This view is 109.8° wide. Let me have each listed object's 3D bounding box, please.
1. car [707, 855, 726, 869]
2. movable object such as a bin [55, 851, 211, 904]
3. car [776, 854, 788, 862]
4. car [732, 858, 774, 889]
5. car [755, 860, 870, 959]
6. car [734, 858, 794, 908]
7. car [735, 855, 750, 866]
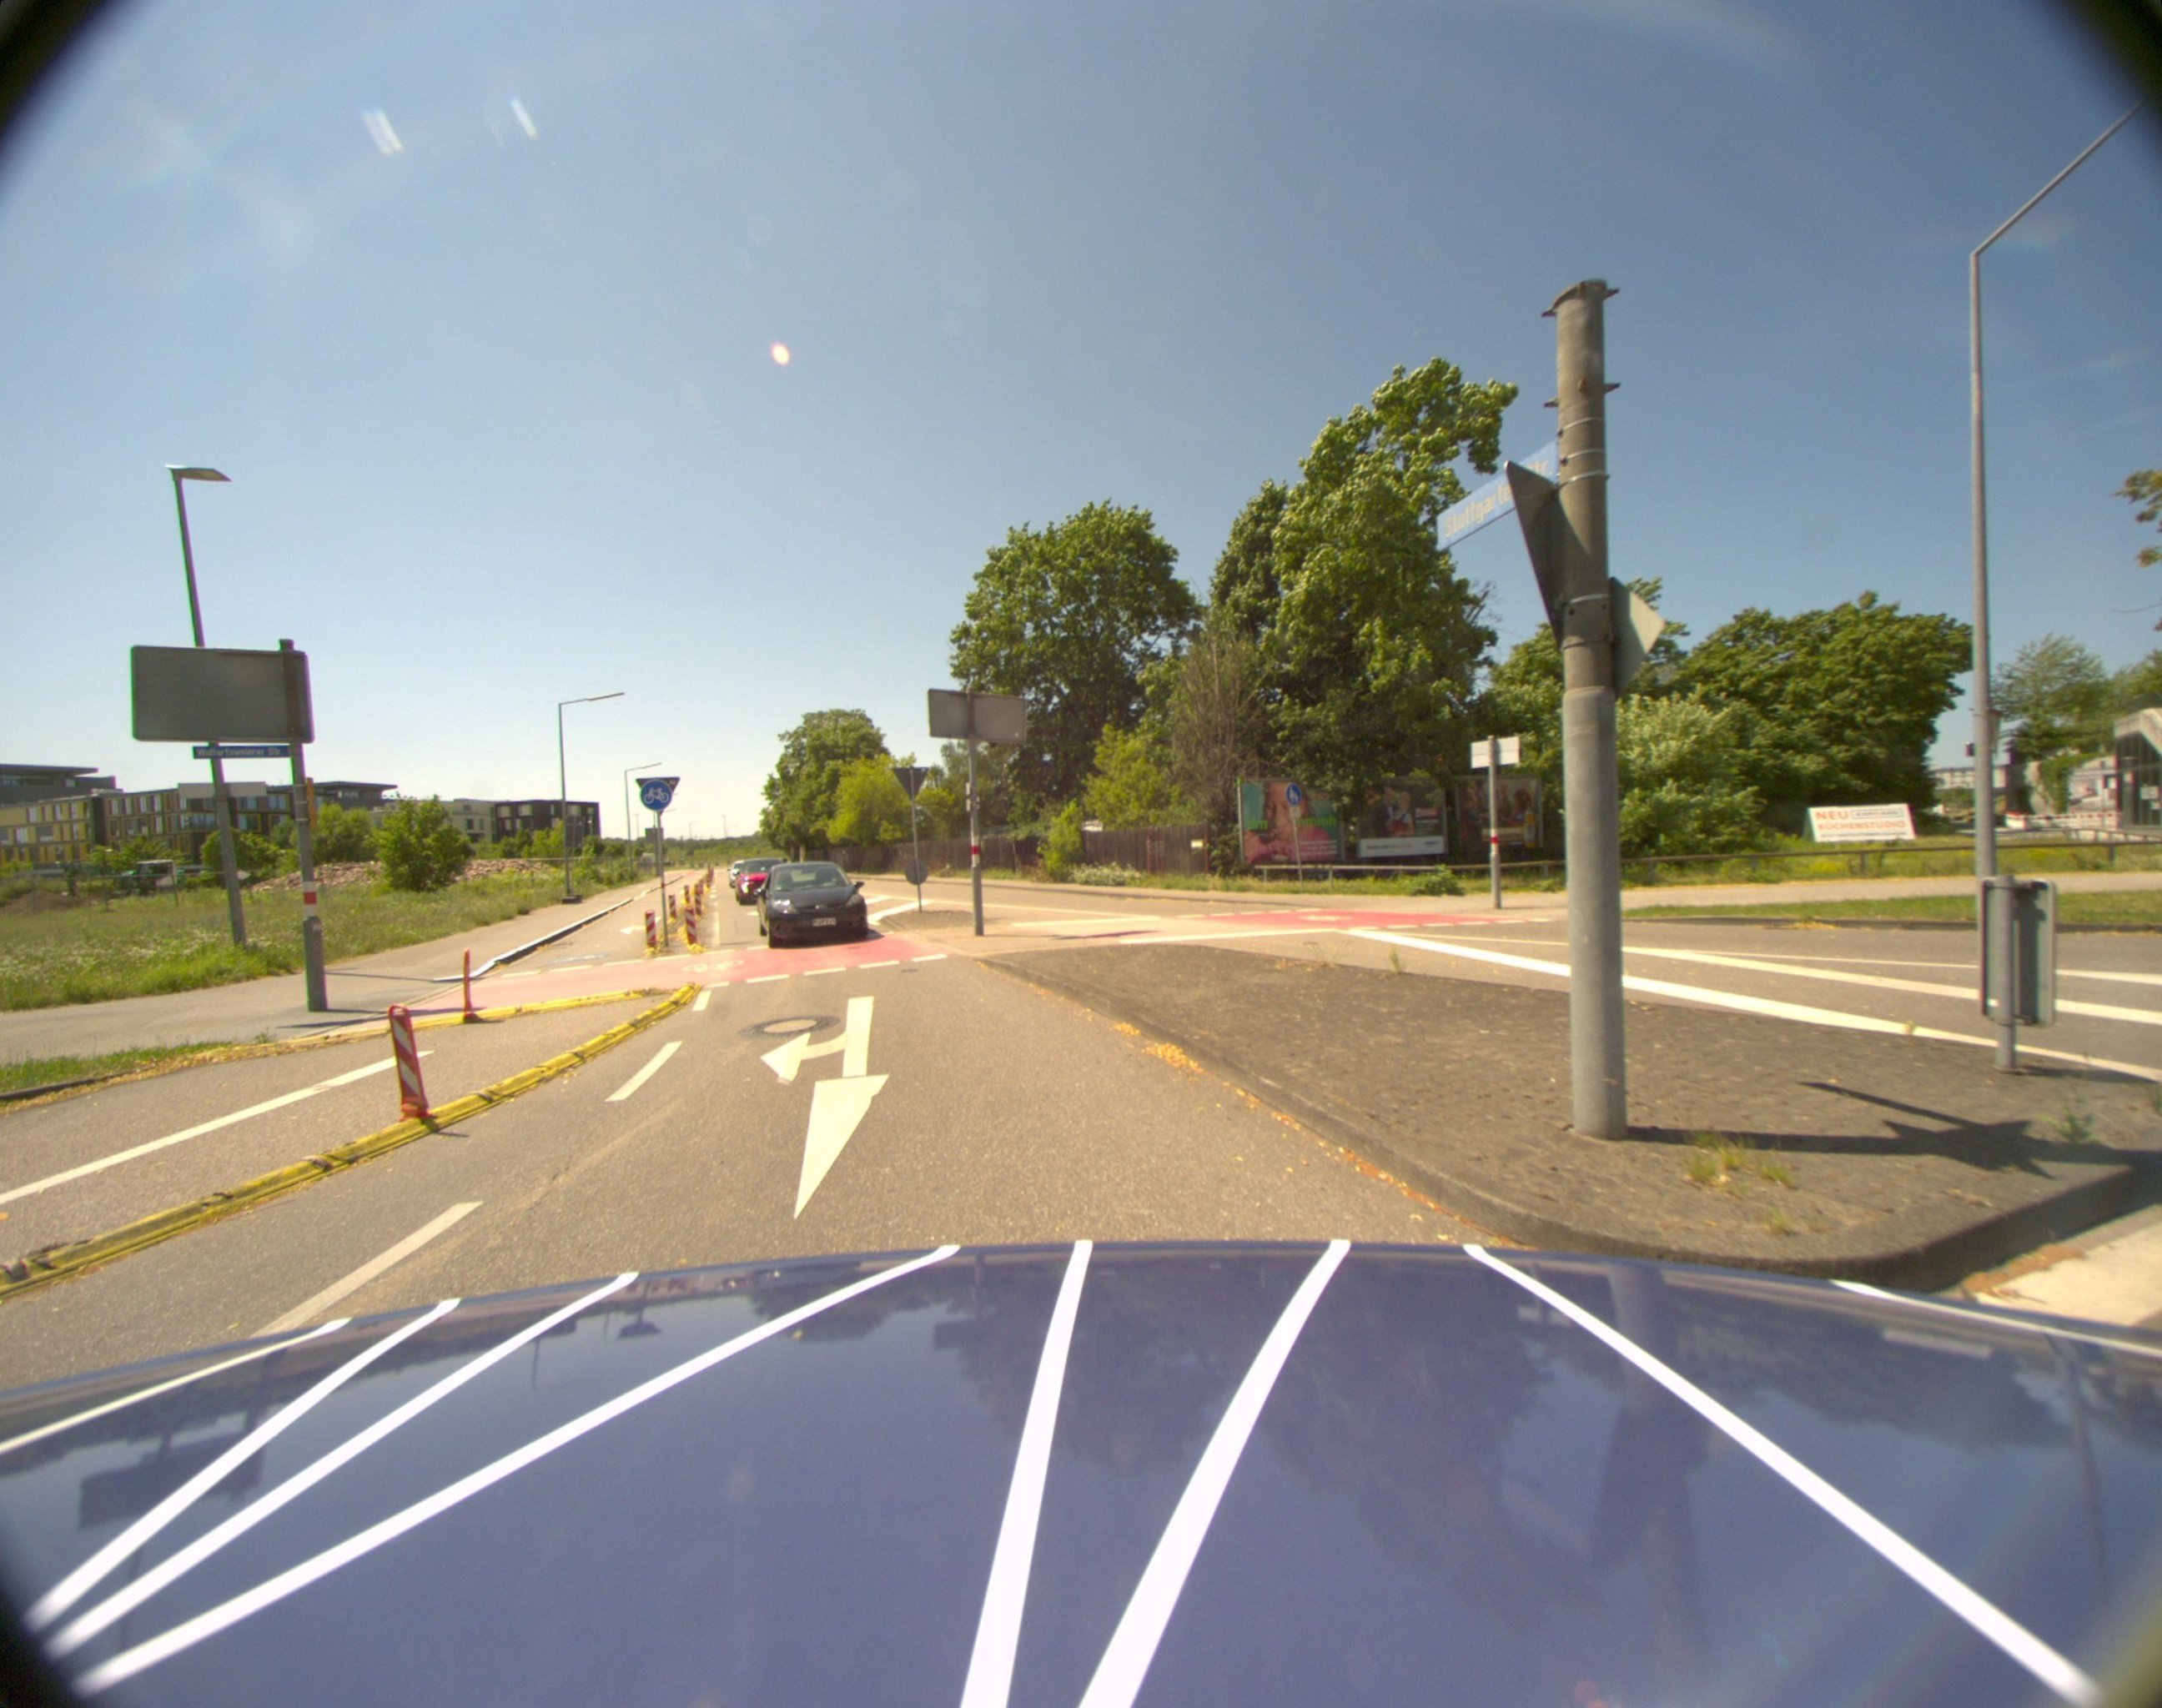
[{"bbox_3d":[-41.387,0.875,86.214,1.762,1.536,3.686,-3,1,-27],"label":"car"},{"bbox_3d":[-65.546,1.507,52.873,2.816,3.132,7.591,-4,3,-17],"label":"movable object such as a bin"},{"bbox_3d":[-63.426,0.845,161.011,1.722,1.455,3.834,-2,1,-31],"label":"car"},{"bbox_3d":[-17.954,1.016,41.521,1.866,1.420,3.991,-5,2,-26],"label":"car"},{"bbox_3d":[-5.165,0.910,14.333,1.636,1.499,3.811,-3,1,-25],"label":"car"},{"bbox_3d":[-11.198,0.955,26.662,1.723,1.519,4.203,-3,1,-25],"label":"car"},{"bbox_3d":[-52.996,1.031,118.932,1.762,1.536,3.686,-3,1,-27],"label":"car"}]
